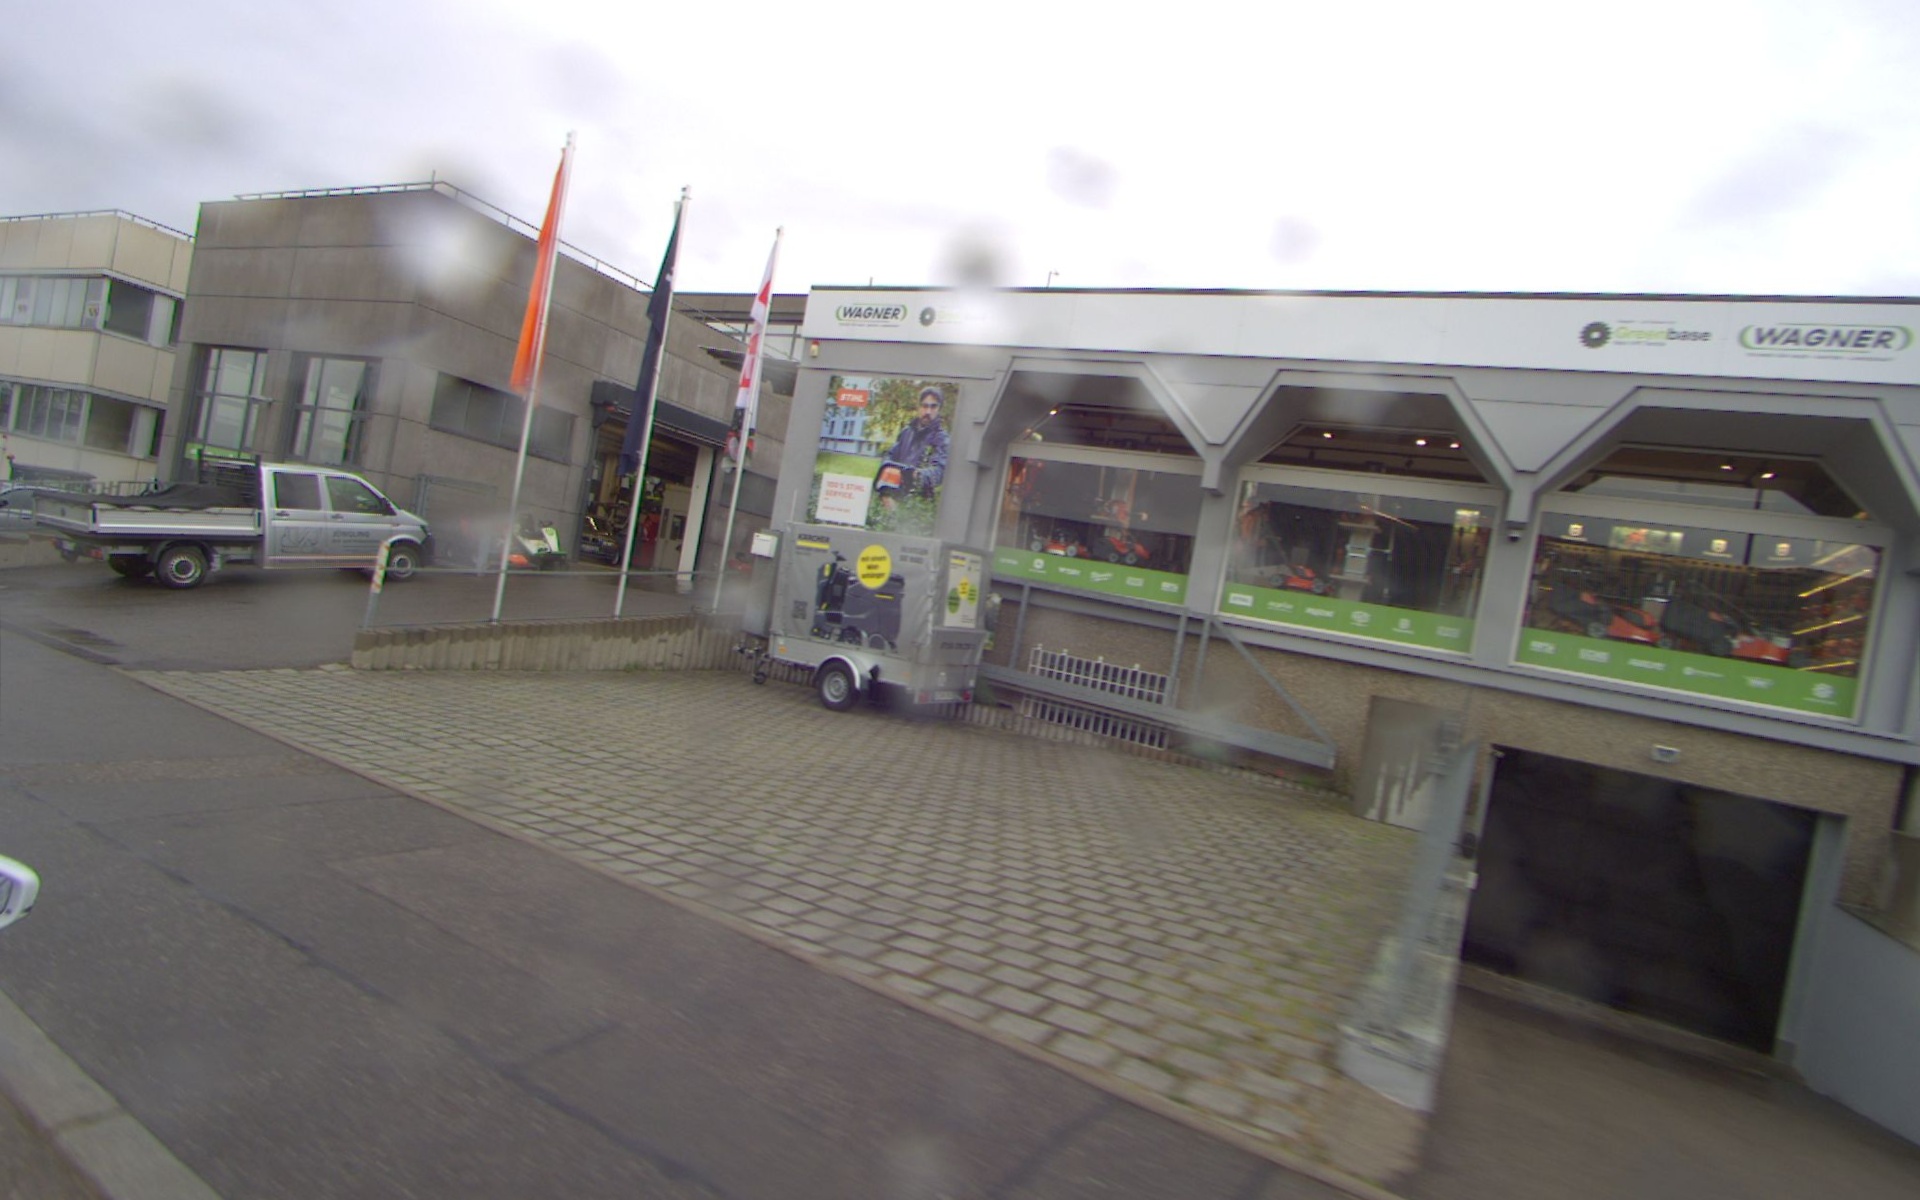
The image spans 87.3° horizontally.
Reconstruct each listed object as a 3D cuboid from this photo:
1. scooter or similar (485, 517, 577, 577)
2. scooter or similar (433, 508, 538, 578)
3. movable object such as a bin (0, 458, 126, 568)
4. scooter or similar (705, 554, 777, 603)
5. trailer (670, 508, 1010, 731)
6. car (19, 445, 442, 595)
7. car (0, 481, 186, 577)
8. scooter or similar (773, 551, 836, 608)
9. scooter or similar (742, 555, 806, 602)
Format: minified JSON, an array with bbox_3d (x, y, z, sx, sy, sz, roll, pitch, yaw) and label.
[{"bbox_3d":[-9.826,-1.206,23.041,1.814,1.171,1.004,7,3,32],"label":"scooter or similar"},{"bbox_3d":[-10.363,-1.247,21.940,2.030,1.241,1.064,9,4,31],"label":"scooter or similar"},{"bbox_3d":[-21.382,-2.057,22.148,1.451,2.136,4.263,7,-1,29],"label":"movable object such as a bin"},{"bbox_3d":[-6.413,-0.637,29.487,1.739,1.189,0.999,7,0,30],"label":"scooter or similar"},{"bbox_3d":[-1.739,0.229,14.223,4.235,2.446,1.890,8,0,30],"label":"trailer"},{"bbox_3d":[-11.822,-1.316,16.853,2.183,2.044,5.293,6,6,28],"label":"car"},{"bbox_3d":[-19.829,-1.625,21.244,1.891,1.633,5.103,8,0,28],"label":"car"},{"bbox_3d":[-4.939,-0.654,31.997,1.561,1.598,0.966,7,0,25],"label":"scooter or similar"},{"bbox_3d":[-5.708,-0.659,30.957,1.561,1.233,0.933,7,0,25],"label":"scooter or similar"}]
